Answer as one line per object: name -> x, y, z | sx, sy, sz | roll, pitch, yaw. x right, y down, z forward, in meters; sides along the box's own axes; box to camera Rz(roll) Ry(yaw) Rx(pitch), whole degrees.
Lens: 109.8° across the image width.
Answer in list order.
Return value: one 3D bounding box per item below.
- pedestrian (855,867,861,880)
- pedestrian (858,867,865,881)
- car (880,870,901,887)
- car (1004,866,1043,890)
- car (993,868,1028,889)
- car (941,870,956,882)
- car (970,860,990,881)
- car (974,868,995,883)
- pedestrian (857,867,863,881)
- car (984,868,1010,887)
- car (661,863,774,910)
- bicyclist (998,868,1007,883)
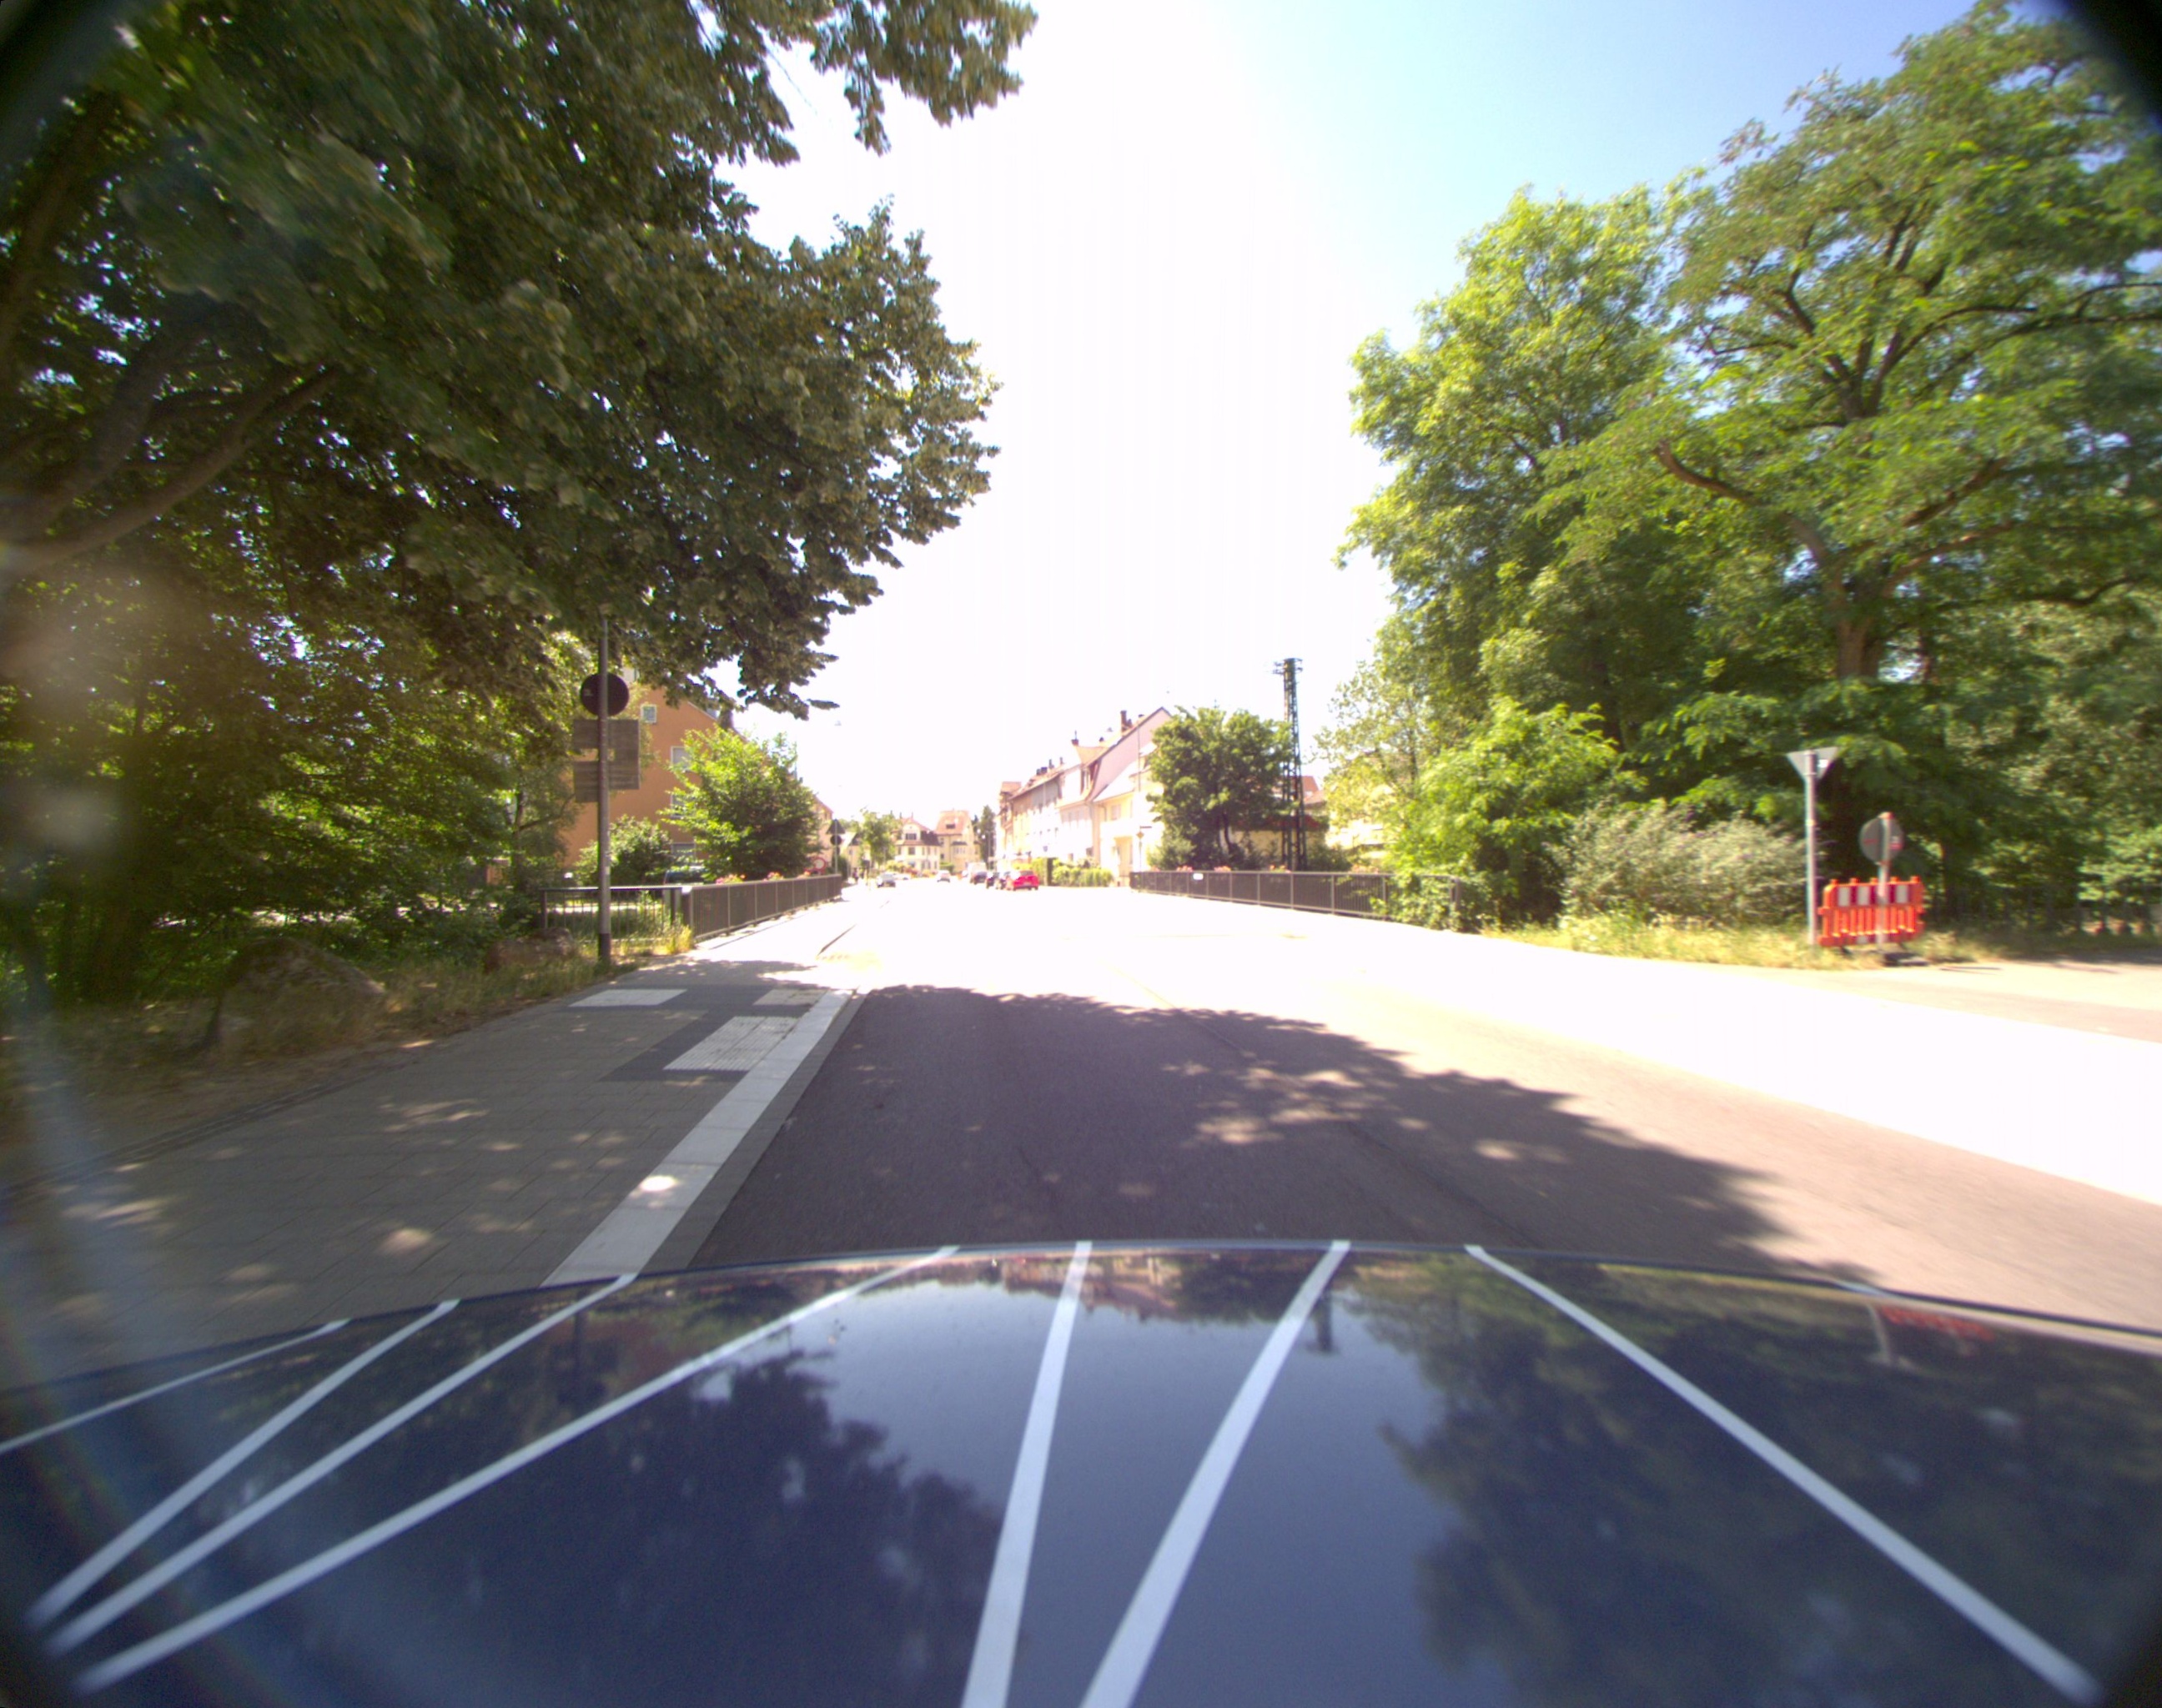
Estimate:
pedestrian -> -30.518, 2.720, 103.832 | 0.797, 1.768, 1.007 | 0, -1, -17
pedestrian -> -29.253, 2.668, 101.261 | 0.823, 1.842, 0.983 | -1, -1, -18
car -> -18.113, 2.333, 72.141 | 1.840, 1.495, 5.058 | 1, -2, -14
car -> -4.053, 1.623, 52.766 | 1.884, 1.471, 4.733 | -3, 0, -14
car -> -5.482, 1.903, 58.435 | 1.870, 1.453, 5.302 | -3, -1, -14
car -> -18.264, 2.984, 104.328 | 1.884, 1.587, 4.356 | 1, -1, -12
car -> -12.703, 2.102, 95.410 | 2.126, 2.435, 6.112 | -3, 0, -10
car -> -10.725, 2.396, 84.683 | 2.091, 1.605, 5.107 | -2, -1, -5
pedestrian -> -30.270, 2.728, 104.069 | 0.791, 1.800, 1.004 | 2, -1, -17
car -> -7.114, 1.963, 64.216 | 1.793, 1.450, 4.195 | -4, -1, -10
car -> -16.077, 1.418, 33.869 | 4.356, 1.828, 1.747 | -2, 0, -22
bicyclist -> -8.925, 2.404, 86.319 | 0.785, 1.649, 0.834 | 0, 0, -15
